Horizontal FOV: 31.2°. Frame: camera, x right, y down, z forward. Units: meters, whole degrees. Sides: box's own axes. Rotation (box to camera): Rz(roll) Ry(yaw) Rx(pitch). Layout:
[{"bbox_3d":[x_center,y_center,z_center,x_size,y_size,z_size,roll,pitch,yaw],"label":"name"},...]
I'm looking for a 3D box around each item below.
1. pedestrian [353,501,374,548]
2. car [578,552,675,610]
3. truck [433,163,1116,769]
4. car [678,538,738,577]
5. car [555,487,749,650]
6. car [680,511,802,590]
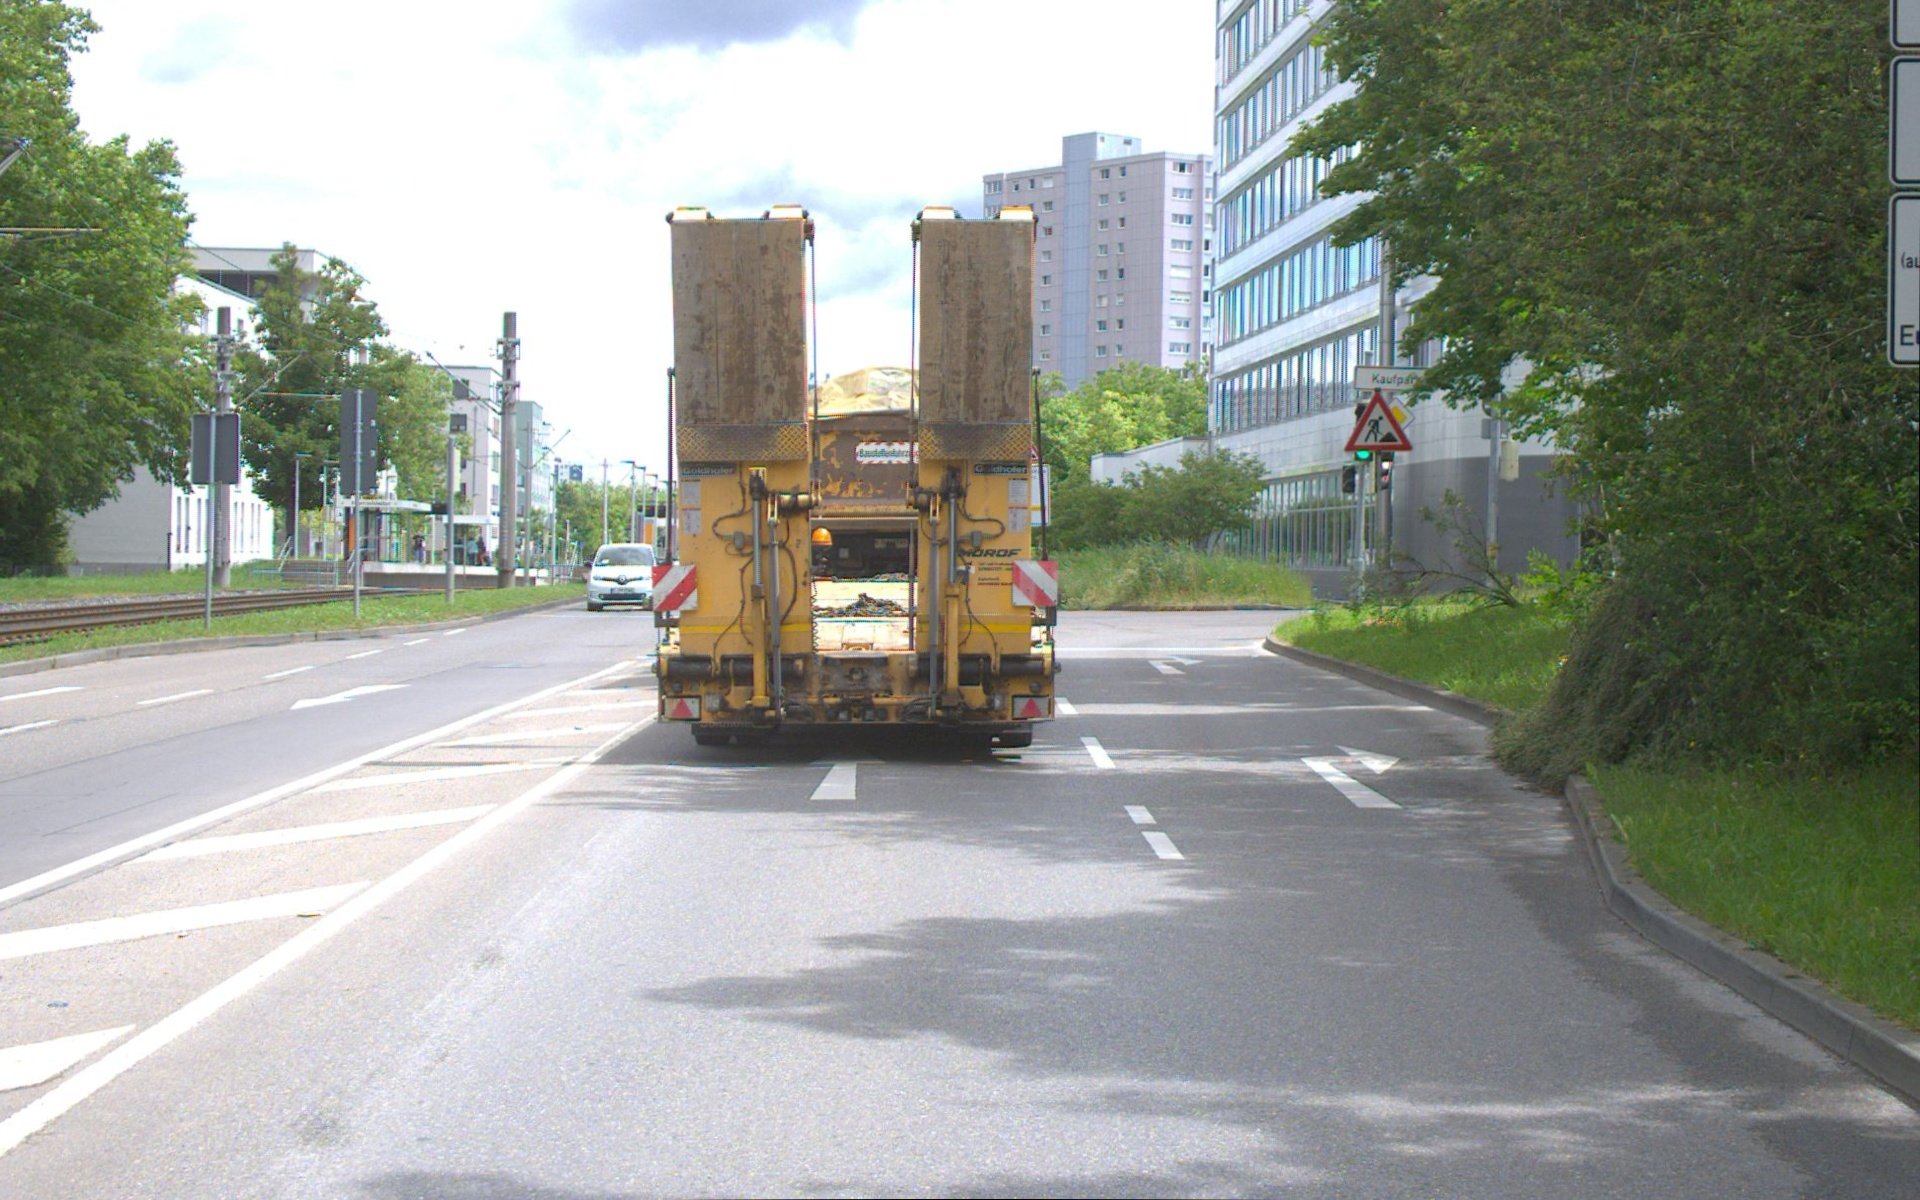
[{"bbox_3d":[-25.656,-3.244,147.868,0.653,2.007,0.653,3,1,6],"label":"pedestrian"},{"bbox_3d":[-7.667,-0.457,79.344,1.784,1.267,4.345,1,1,0],"label":"car"},{"bbox_3d":[-0.896,-0.955,27.620,3.317,3.638,12.559,2,1,6],"label":"truck"},{"bbox_3d":[-8.560,-1.464,116.836,1.784,1.267,4.345,1,1,-1],"label":"car"},{"bbox_3d":[-3.939,-0.434,44.584,1.993,1.919,4.000,3,1,1],"label":"car"},{"bbox_3d":[-4.274,-0.989,67.658,1.993,1.415,4.000,3,1,1],"label":"car"}]
